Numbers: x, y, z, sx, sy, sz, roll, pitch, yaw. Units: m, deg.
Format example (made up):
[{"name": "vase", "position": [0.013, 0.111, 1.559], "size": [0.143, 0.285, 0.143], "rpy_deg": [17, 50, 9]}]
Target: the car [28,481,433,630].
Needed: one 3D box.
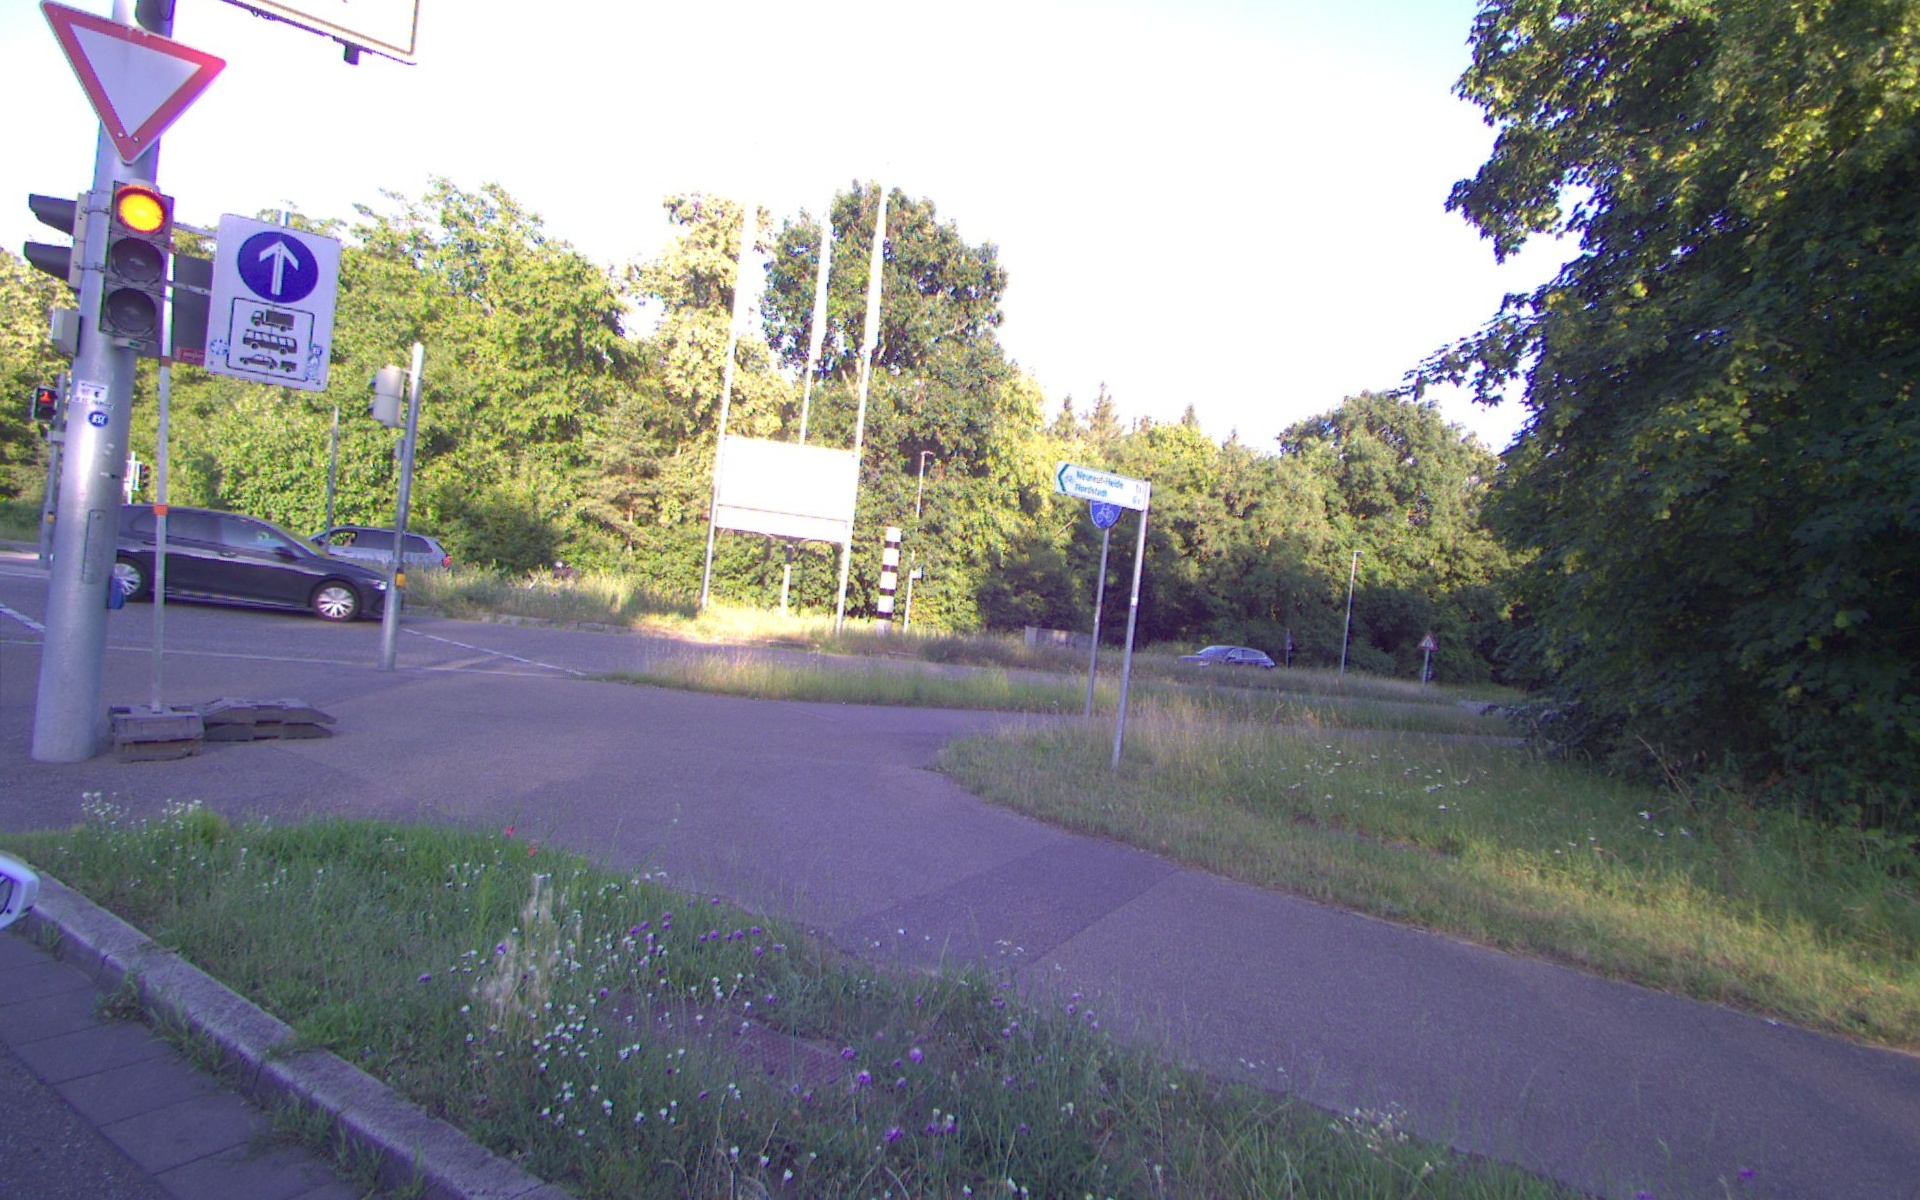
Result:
[{"name": "car", "position": [-10.881, -0.603, 15.523], "size": [4.619, 1.548, 1.988], "rpy_deg": [7, 0, -25]}]

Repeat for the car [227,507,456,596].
[{"name": "car", "position": [-15.917, -1.210, 25.996], "size": [4.790, 1.618, 1.980], "rpy_deg": [7, 0, -37]}]

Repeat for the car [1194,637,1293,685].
[{"name": "car", "position": [11.602, 2.489, 41.079], "size": [3.840, 1.507, 1.754], "rpy_deg": [7, -1, -36]}]

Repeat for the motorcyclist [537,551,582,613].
[{"name": "motorcyclist", "position": [-11.207, -0.512, 28.176], "size": [0.881, 1.614, 0.648], "rpy_deg": [6, 0, -37]}]

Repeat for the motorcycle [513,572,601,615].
[{"name": "motorcycle", "position": [-11.273, -0.172, 28.164], "size": [2.133, 0.921, 0.655], "rpy_deg": [7, 0, -37]}]
